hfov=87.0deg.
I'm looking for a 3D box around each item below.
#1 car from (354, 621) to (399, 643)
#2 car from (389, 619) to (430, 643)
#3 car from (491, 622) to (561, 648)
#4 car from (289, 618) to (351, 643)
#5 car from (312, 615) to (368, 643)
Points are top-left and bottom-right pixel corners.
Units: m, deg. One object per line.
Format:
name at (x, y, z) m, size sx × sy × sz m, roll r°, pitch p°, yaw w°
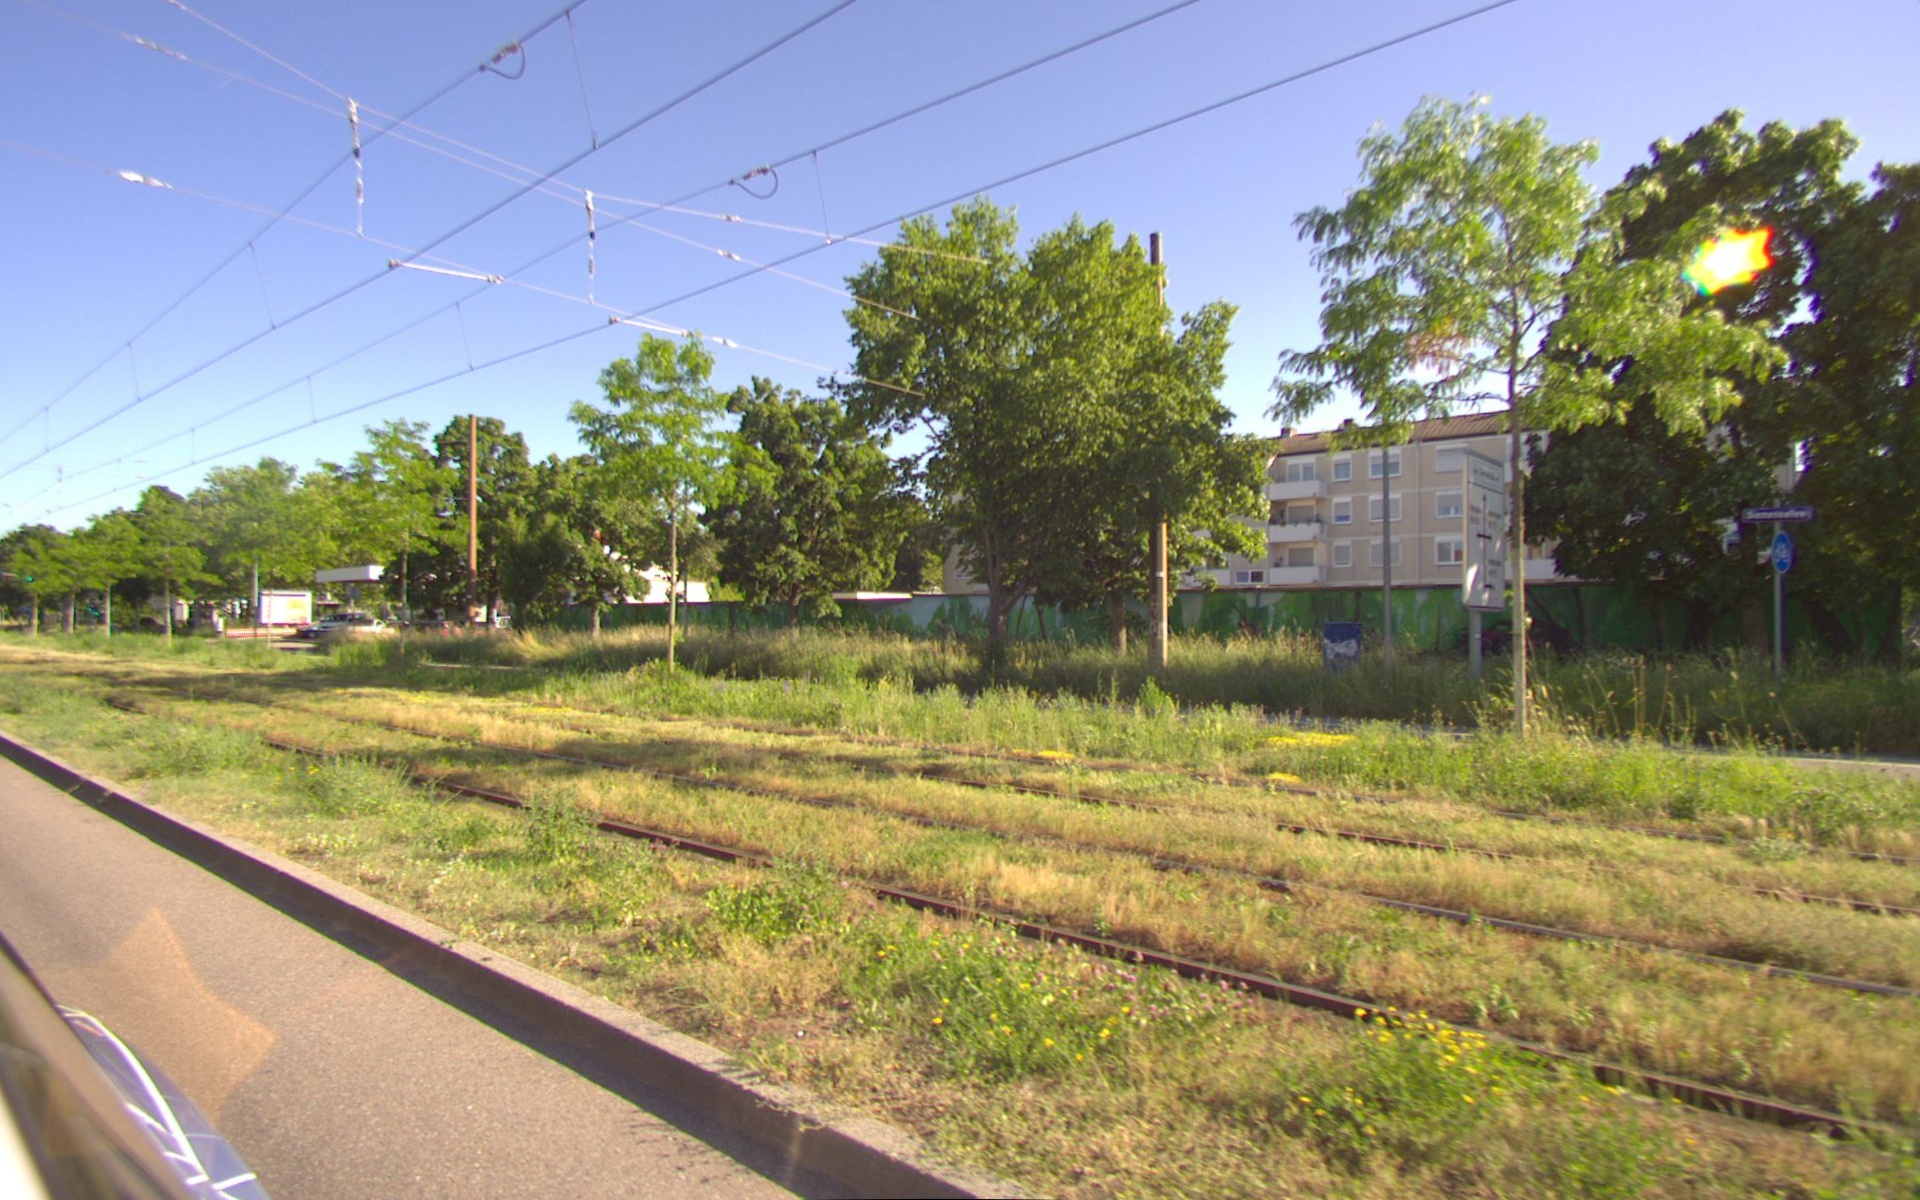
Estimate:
car at (-41.501, 2.239, 72.074) m, size 1.688 × 1.435 × 4.470 m, roll 0°, pitch 0°, yaw -15°
car at (-38.708, 2.182, 71.228) m, size 1.992 × 1.519 × 4.906 m, roll 1°, pitch -1°, yaw -23°
car at (-27.729, 2.221, 64.734) m, size 1.703 × 1.521 × 3.779 m, roll -1°, pitch -1°, yaw 40°
car at (-53.219, 2.513, 84.170) m, size 2.000 × 1.871 × 3.944 m, roll -2°, pitch 0°, yaw 42°
car at (-45.015, 2.107, 73.621) m, size 1.867 × 1.925 × 4.821 m, roll 0°, pitch -2°, yaw -11°
